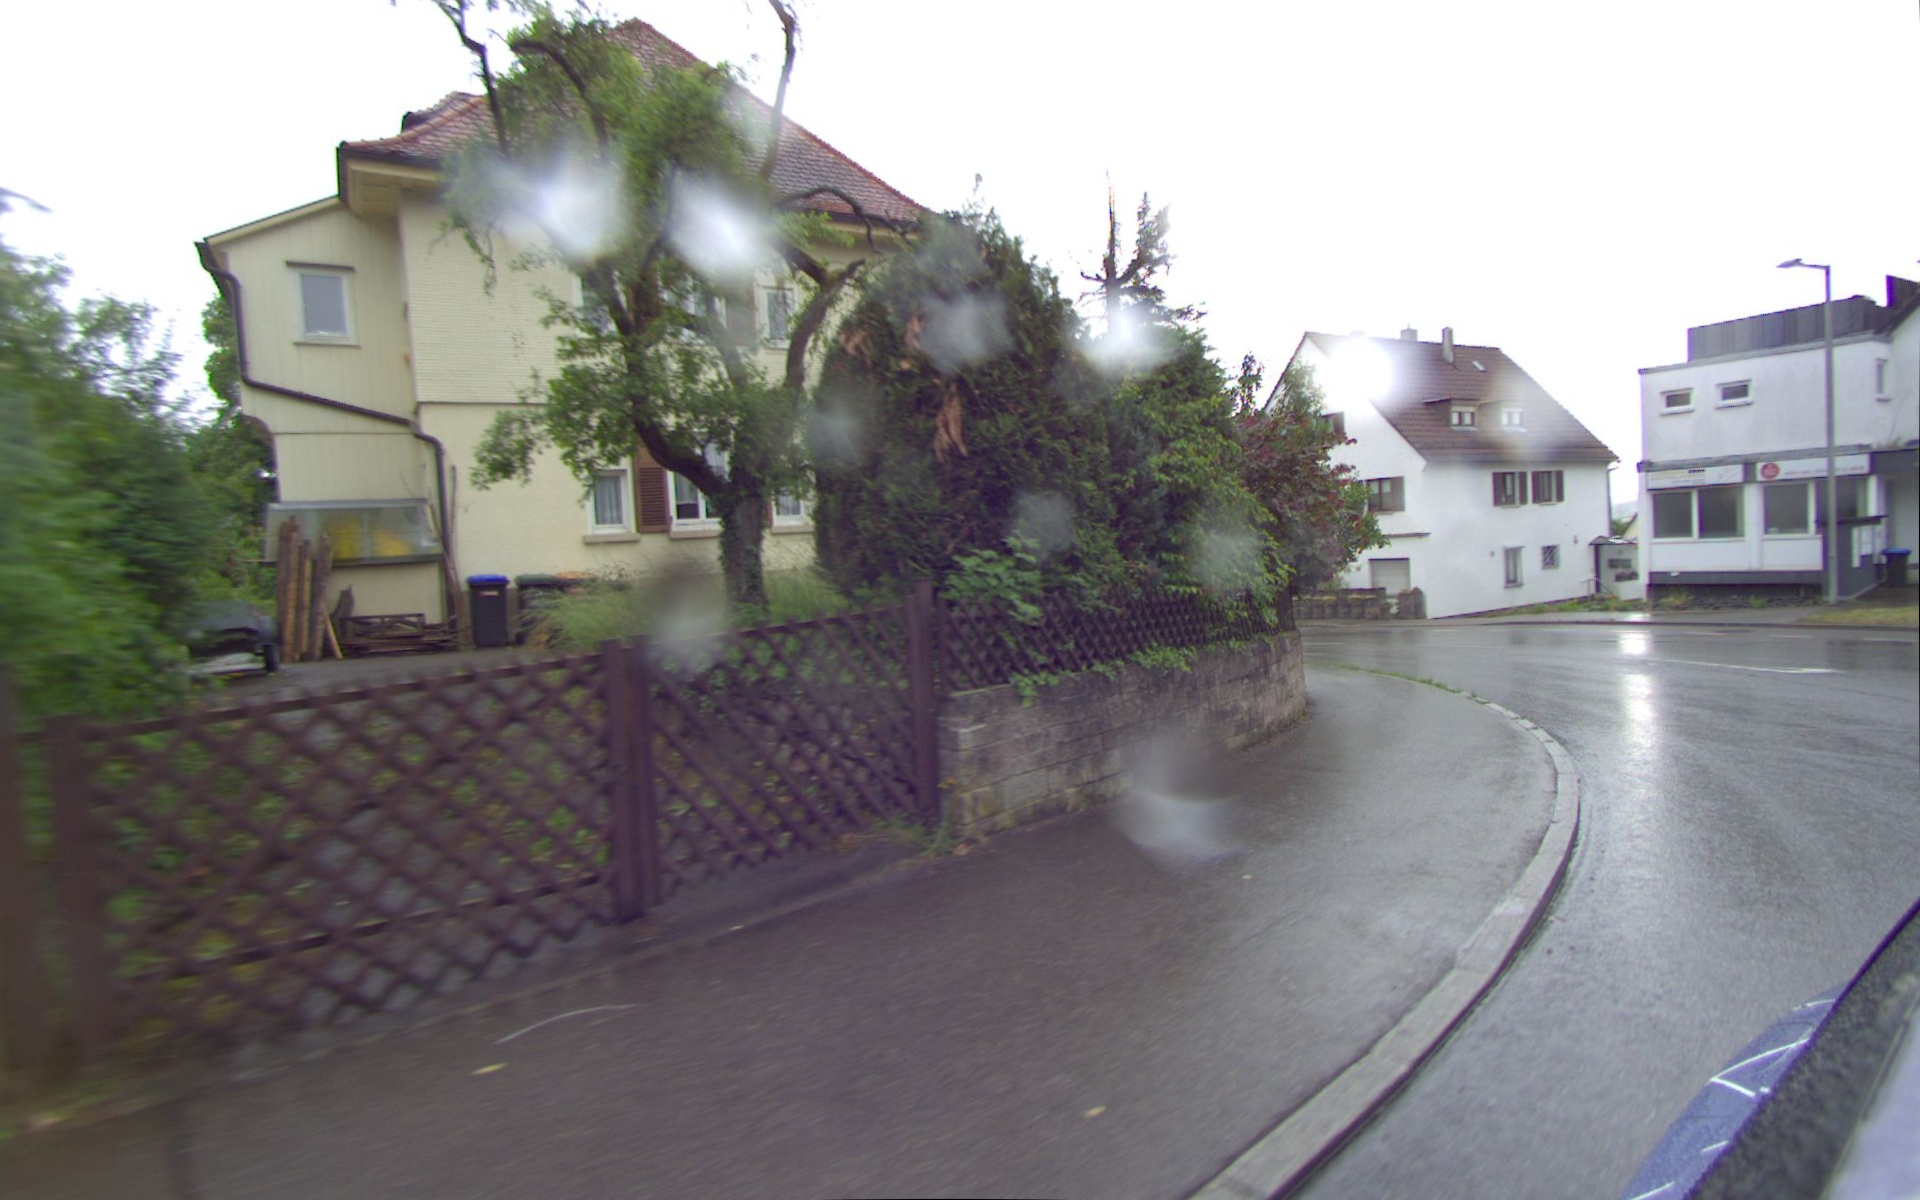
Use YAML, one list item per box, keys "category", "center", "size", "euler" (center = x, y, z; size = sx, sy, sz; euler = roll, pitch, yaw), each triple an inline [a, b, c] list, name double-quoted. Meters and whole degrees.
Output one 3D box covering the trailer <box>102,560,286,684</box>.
- category: "trailer"
  center: [-8.056, 0.218, 10.836]
  size: [1.379, 1.127, 2.970]
  euler: [-1, -1, -34]
